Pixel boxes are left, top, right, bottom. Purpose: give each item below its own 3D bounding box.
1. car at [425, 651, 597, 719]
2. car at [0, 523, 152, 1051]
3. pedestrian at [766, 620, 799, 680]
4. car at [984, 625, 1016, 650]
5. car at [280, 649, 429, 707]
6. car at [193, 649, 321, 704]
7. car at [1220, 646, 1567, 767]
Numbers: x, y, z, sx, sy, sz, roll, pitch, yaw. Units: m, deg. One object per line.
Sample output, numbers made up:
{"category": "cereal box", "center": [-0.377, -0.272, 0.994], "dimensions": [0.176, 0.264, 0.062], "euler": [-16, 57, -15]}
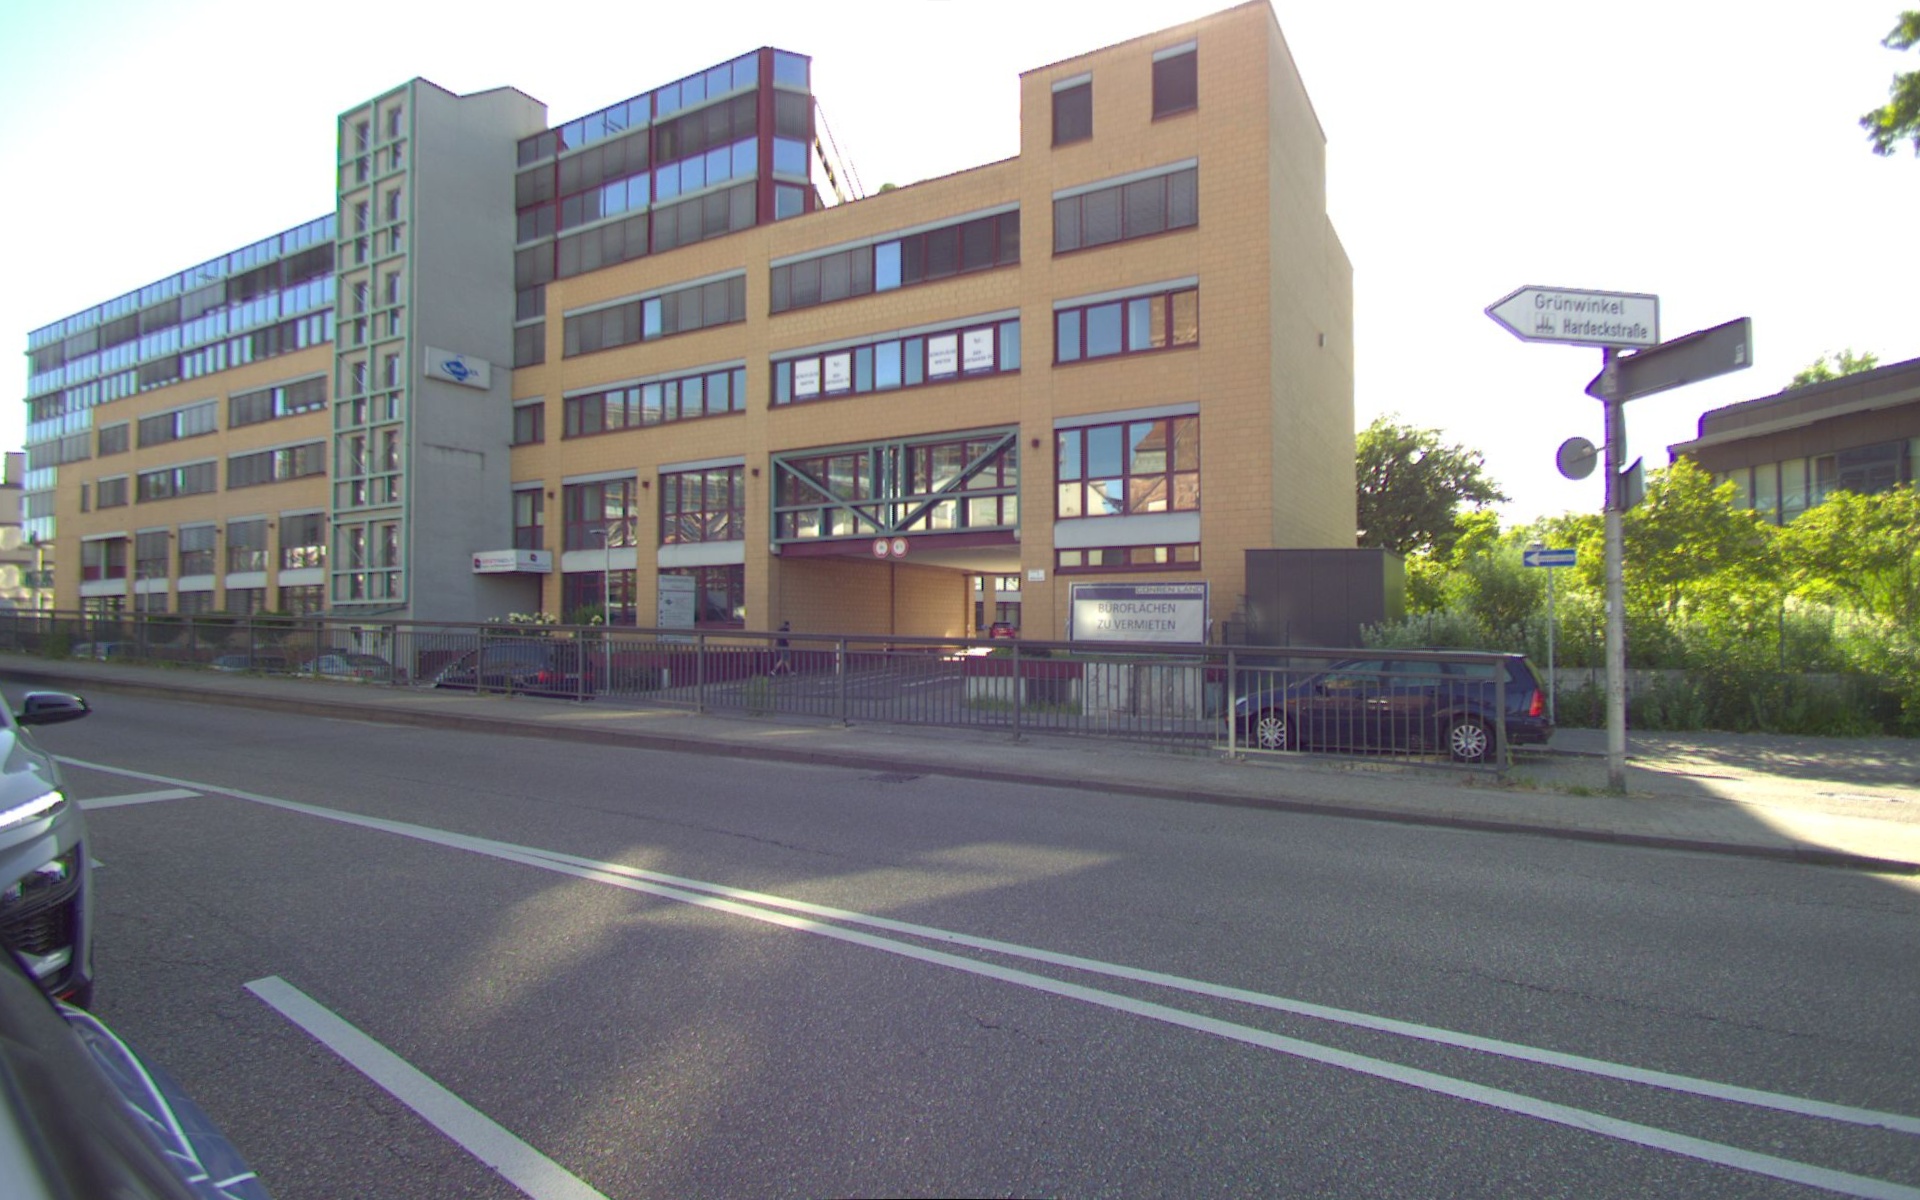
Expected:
{"category": "car", "center": [-11.030, 2.040, 24.819], "dimensions": [4.139, 1.535, 1.624], "euler": [-2, -3, 27]}
{"category": "car", "center": [-4.907, 0.620, 4.141], "dimensions": [4.196, 1.634, 1.854], "euler": [-2, -3, 42]}
{"category": "pedestrian", "center": [-5.635, 1.573, 32.130], "dimensions": [0.703, 1.865, 0.738], "euler": [-2, -1, 35]}
{"category": "car", "center": [2.629, 2.460, 67.266], "dimensions": [1.742, 1.532, 4.003], "euler": [-1, 0, -3]}
{"category": "car", "center": [-17.337, 2.186, 28.968], "dimensions": [4.143, 1.535, 1.862], "euler": [-2, -3, 29]}
{"category": "car", "center": [-22.039, 2.352, 31.709], "dimensions": [3.986, 1.576, 1.865], "euler": [-2, -3, 32]}
{"category": "car", "center": [6.177, 1.490, 14.653], "dimensions": [4.367, 1.520, 1.640], "euler": [-3, -5, 34]}
